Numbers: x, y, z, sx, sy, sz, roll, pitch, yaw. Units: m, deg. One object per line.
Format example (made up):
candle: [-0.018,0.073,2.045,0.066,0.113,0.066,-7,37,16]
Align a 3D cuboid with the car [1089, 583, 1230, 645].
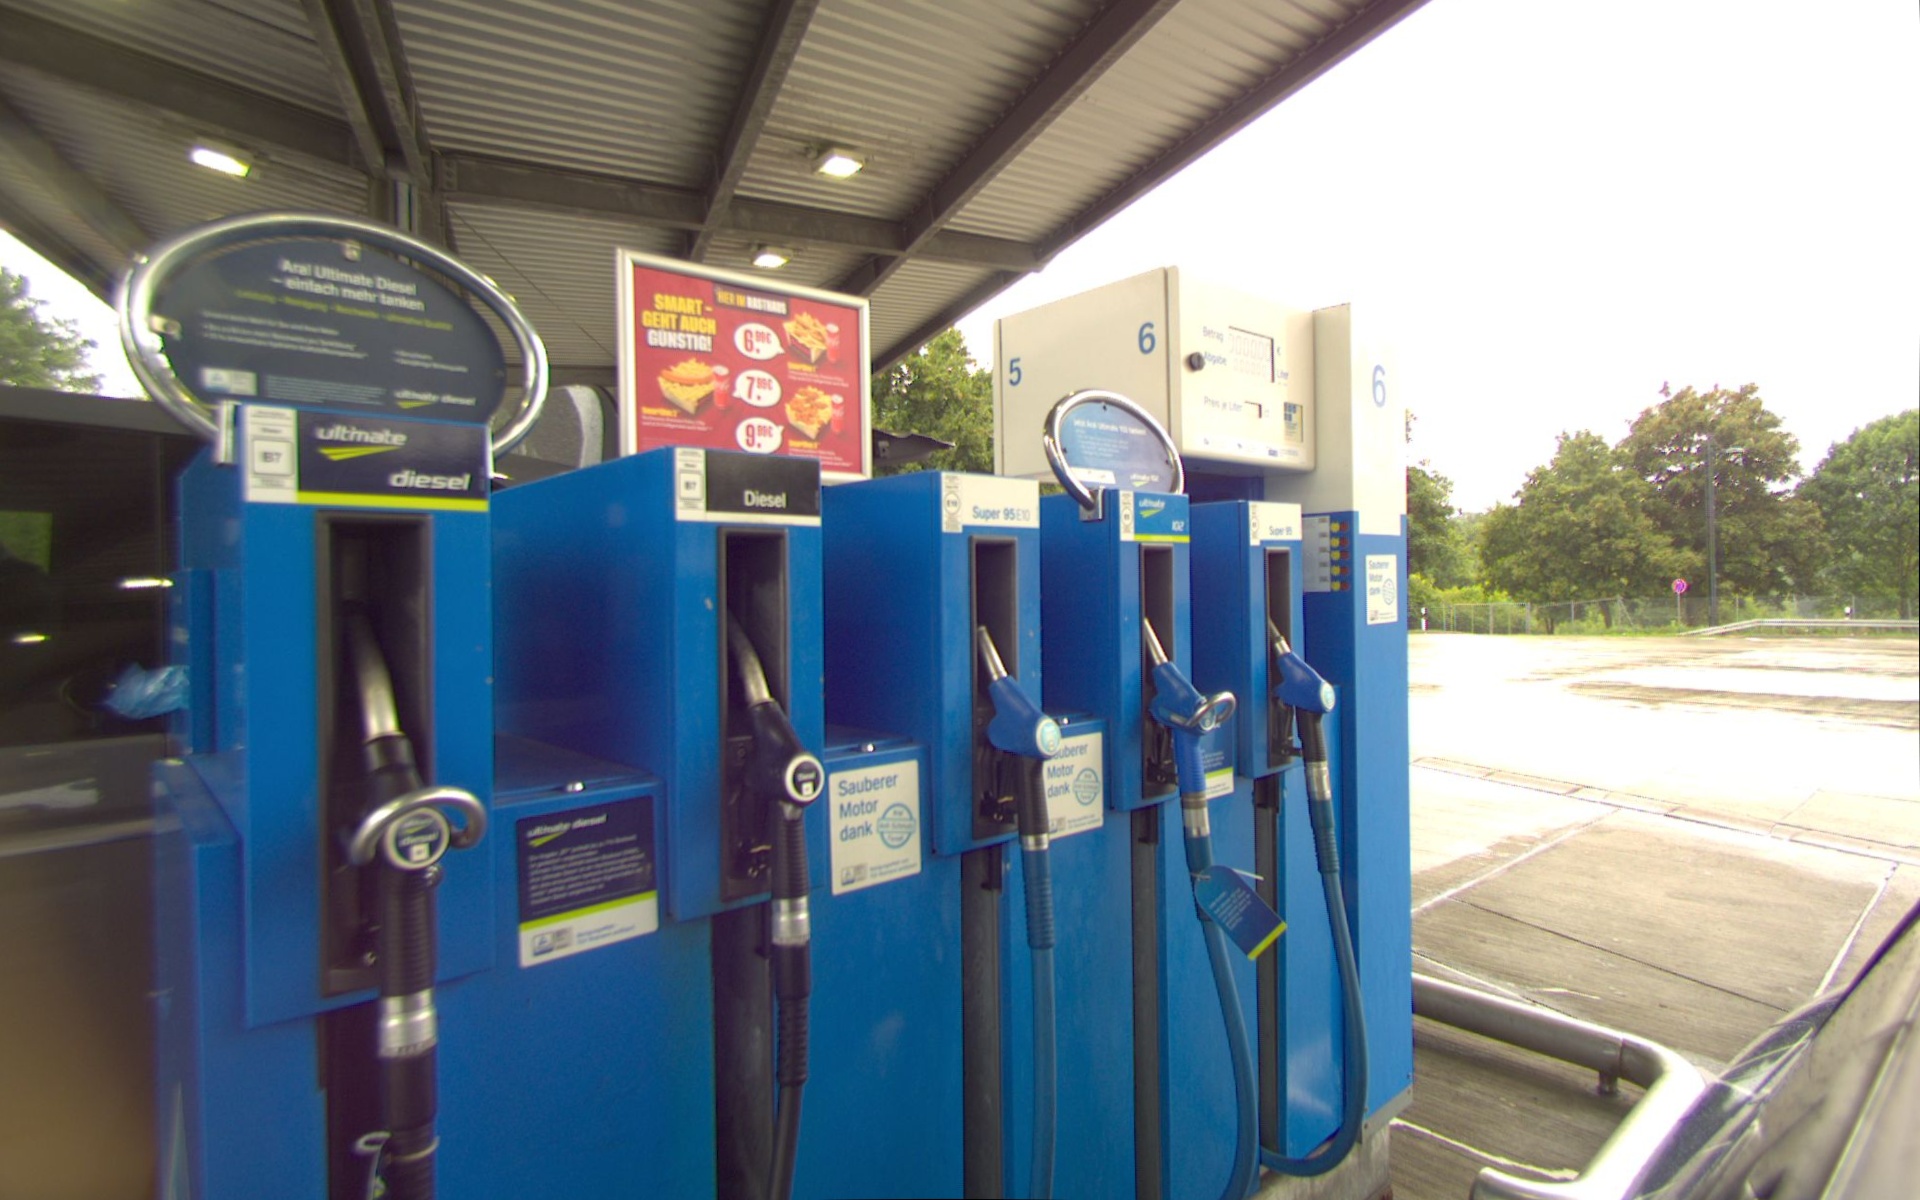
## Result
car: [5.863,0.376,29.713,3.941,1.680,1.593,1,0,14]

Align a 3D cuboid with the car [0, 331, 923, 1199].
car: [-2.611,0.501,1.801,5.050,1.821,1.864,-1,0,-41]

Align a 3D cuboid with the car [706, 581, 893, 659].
car: [-3.366,0.393,21.166,3.605,1.524,1.603,0,0,-20]

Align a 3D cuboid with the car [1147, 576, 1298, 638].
car: [8.879,0.210,34.486,4.817,1.974,2.306,1,1,14]

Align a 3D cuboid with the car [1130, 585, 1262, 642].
car: [7.417,0.388,31.904,3.941,1.680,1.593,1,0,14]
